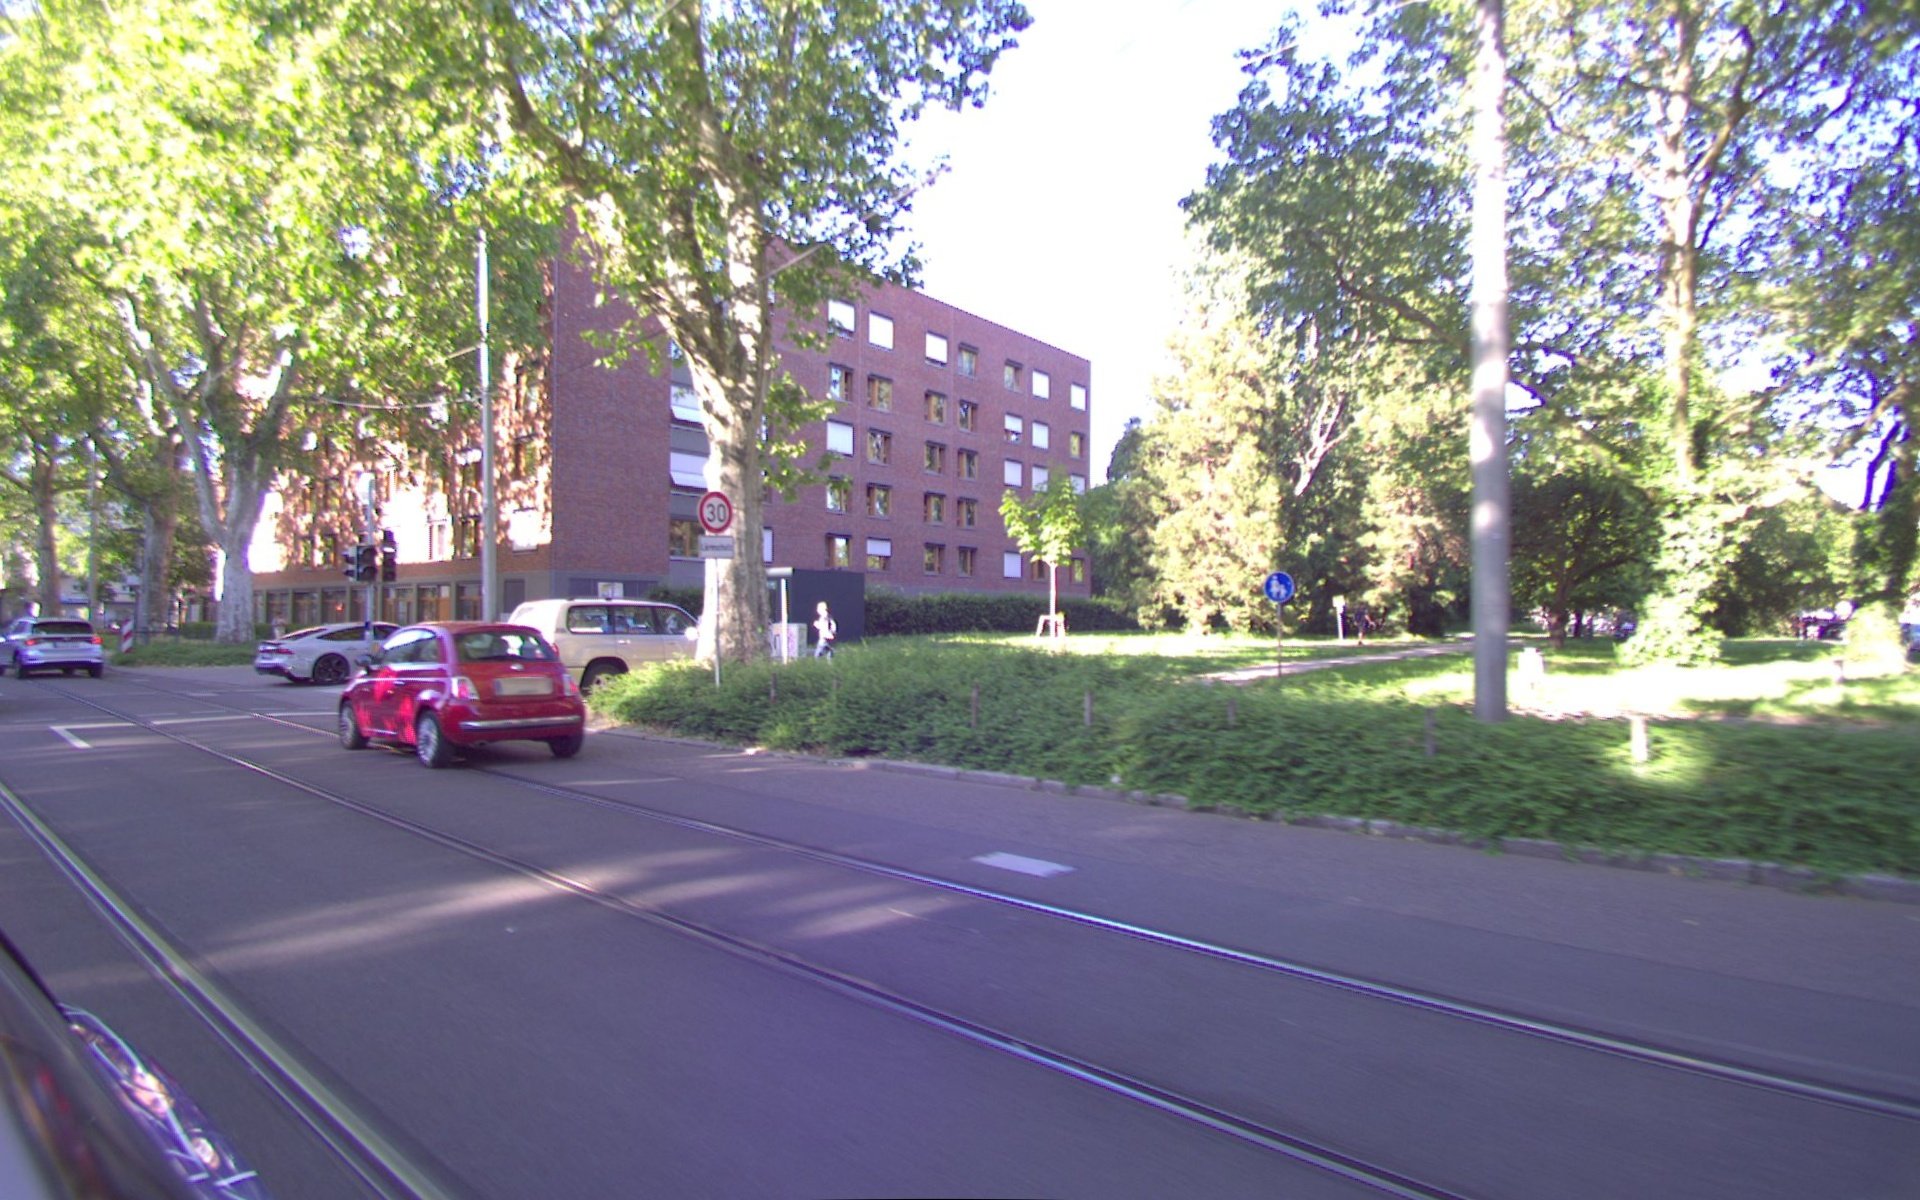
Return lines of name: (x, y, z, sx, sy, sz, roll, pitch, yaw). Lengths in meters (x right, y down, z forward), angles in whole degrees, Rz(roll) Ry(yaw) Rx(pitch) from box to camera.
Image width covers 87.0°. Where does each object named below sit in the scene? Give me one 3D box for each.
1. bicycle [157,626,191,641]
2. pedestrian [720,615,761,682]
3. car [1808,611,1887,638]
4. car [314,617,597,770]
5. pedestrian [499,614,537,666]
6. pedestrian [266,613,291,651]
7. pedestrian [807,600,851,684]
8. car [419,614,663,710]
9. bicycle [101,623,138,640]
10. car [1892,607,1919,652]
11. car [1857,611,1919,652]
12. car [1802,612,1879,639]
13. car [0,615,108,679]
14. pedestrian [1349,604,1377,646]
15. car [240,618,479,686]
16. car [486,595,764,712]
bicycle: (-60.323, 2.574, 77.676, 2.011, 1.102, 0.821, 0, -1, 2)
pedestrian: (-5.685, 1.241, 26.203, 0.778, 1.686, 0.702, -1, -1, 39)
car: (74.776, 2.041, 85.330, 4.732, 2.261, 1.977, -1, -1, 34)
car: (-5.807, 0.931, 11.518, 3.470, 1.455, 1.644, -1, -1, 40)
pedestrian: (-15.058, 1.354, 34.465, 0.913, 1.750, 0.836, -1, -1, 35)
pedestrian: (-32.042, 1.473, 47.572, 0.971, 1.757, 0.756, -1, -1, 39)
pedestrian: (-2.923, 0.921, 22.594, 0.752, 1.823, 0.636, -1, -1, 45)
car: (-8.210, 1.133, 20.126, 1.899, 1.659, 4.100, -1, -1, 37)
bicycle: (-62.485, 2.362, 75.261, 2.067, 1.198, 0.883, 0, -1, -35)
car: (45.350, 1.339, 47.137, 1.994, 2.029, 4.693, -1, -1, 32)
car: (48.460, 1.609, 52.596, 1.994, 2.029, 4.693, -1, -1, 32)
car: (76.006, 2.153, 87.432, 4.732, 2.261, 1.977, -1, -1, 34)
car: (-24.401, 1.211, 26.998, 4.112, 1.580, 1.797, -1, -3, 40)
pedestrian: (16.419, 1.024, 41.233, 0.766, 1.686, 0.714, 0, -1, -34)
car: (-14.704, 1.201, 25.021, 1.952, 1.471, 4.719, -1, -1, 37)
car: (-5.956, 0.867, 18.466, 1.936, 1.848, 4.526, -1, -1, 39)
